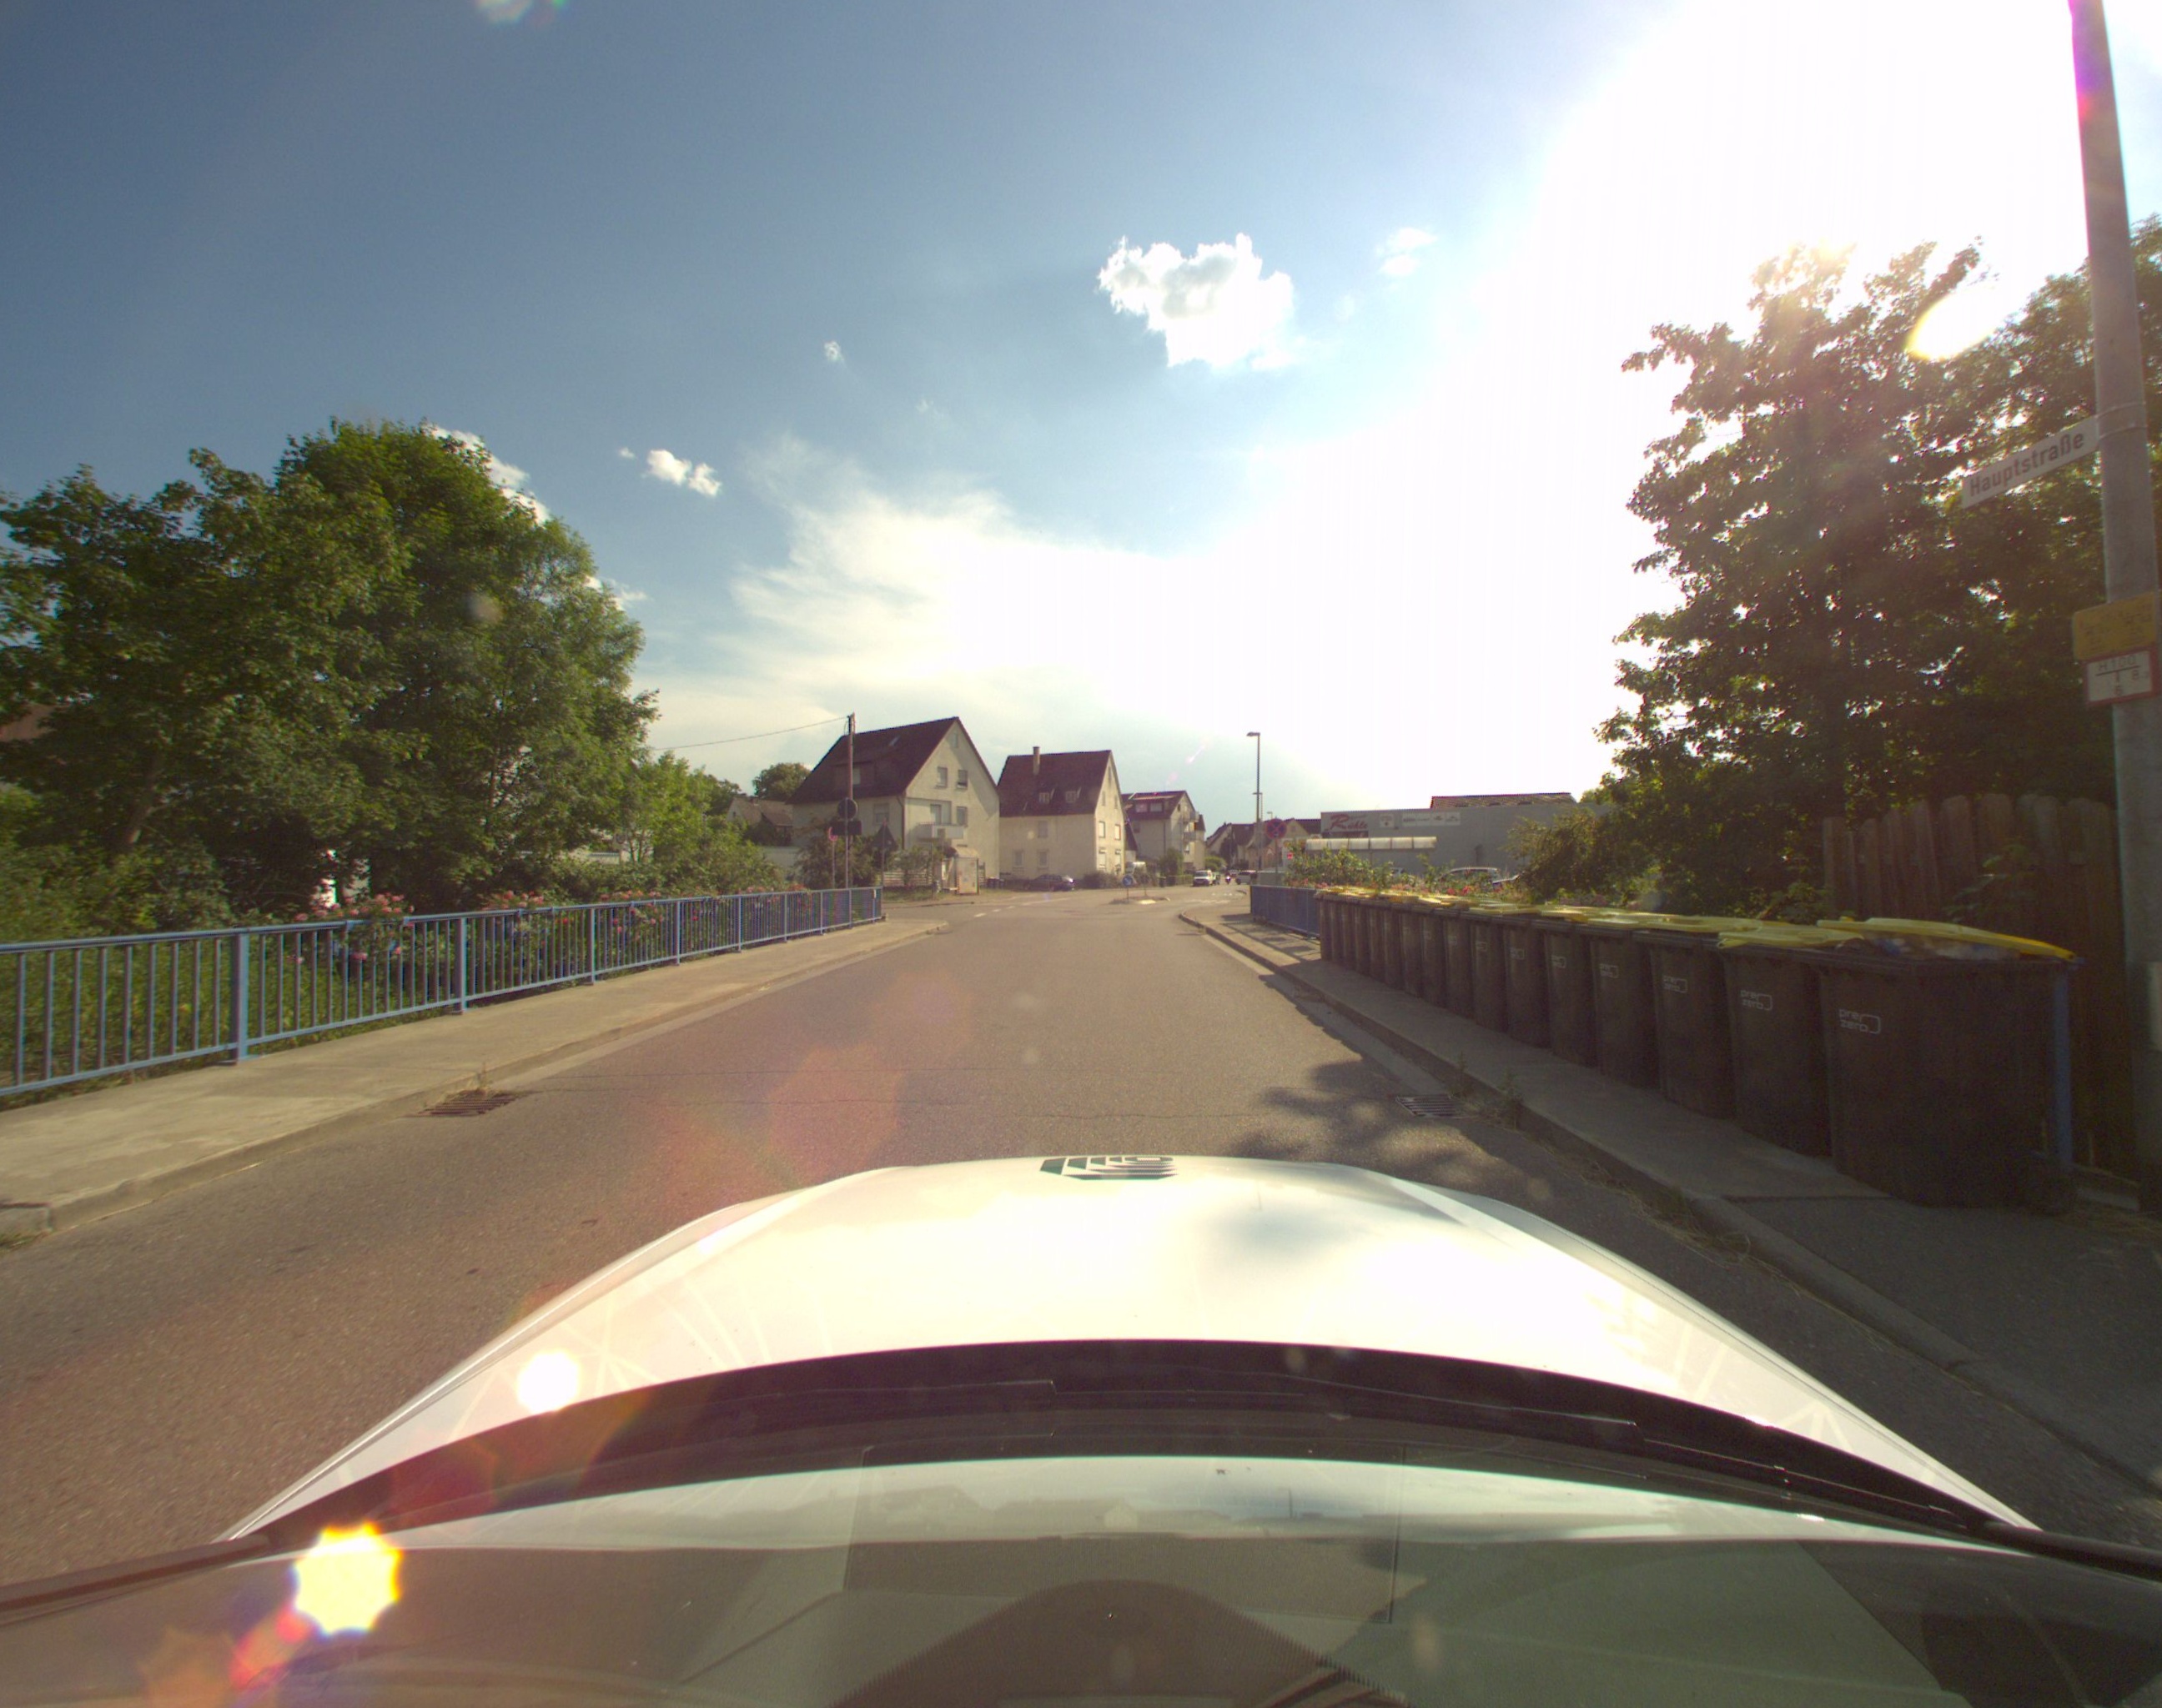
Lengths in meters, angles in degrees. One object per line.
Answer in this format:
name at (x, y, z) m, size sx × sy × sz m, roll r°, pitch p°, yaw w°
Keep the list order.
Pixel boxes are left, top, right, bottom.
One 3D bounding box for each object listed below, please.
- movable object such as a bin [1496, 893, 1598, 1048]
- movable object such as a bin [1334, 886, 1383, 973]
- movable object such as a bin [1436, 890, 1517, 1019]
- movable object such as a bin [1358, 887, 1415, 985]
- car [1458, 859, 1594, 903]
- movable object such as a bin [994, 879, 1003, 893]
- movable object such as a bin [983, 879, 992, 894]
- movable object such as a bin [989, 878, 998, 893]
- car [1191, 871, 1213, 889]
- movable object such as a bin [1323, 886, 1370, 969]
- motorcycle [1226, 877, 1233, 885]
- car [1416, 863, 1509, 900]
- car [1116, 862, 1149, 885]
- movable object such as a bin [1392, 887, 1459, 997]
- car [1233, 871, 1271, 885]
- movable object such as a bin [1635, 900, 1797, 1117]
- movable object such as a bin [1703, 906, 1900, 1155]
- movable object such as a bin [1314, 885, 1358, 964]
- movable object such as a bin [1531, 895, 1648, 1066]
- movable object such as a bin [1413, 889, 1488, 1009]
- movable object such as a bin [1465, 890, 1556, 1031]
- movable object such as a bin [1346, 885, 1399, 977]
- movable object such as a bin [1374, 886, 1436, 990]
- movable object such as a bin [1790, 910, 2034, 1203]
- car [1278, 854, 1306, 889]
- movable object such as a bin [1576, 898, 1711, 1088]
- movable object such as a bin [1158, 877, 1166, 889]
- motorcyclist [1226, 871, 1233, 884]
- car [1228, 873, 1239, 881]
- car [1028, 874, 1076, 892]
movable object such as a bin at (3.662, 0.893, 6.431) m, size 0.477 × 1.143 × 0.538 m, roll -1°, pitch -2°, yaw 1°
movable object such as a bin at (3.785, 1.014, 11.140) m, size 0.477 × 1.143 × 0.538 m, roll -1°, pitch -2°, yaw 1°
movable object such as a bin at (3.690, 0.918, 7.628) m, size 0.477 × 1.143 × 0.538 m, roll -1°, pitch -2°, yaw 1°
movable object such as a bin at (3.736, 0.984, 9.975) m, size 0.477 × 1.143 × 0.538 m, roll -1°, pitch -2°, yaw 1°
car at (15.495, 0.974, 28.578) m, size 3.909 × 1.449 × 1.689 m, roll -2°, pitch -3°, yaw 16°
movable object such as a bin at (-6.030, 2.334, 59.463) m, size 0.357 × 1.023 × 0.580 m, roll -2°, pitch -3°, yaw 33°
movable object such as a bin at (-6.685, 2.338, 58.490) m, size 0.357 × 1.016 × 0.561 m, roll -2°, pitch -3°, yaw 33°
movable object such as a bin at (-6.338, 2.295, 58.981) m, size 0.357 × 1.041 × 0.561 m, roll -2°, pitch -3°, yaw 33°
car at (13.413, 2.860, 89.979) m, size 1.703 × 1.873 × 4.210 m, roll -2°, pitch -2°, yaw 17°
movable object such as a bin at (3.812, 1.039, 11.710) m, size 0.477 × 1.143 × 0.538 m, roll -1°, pitch -2°, yaw 1°
motorcycle at (17.901, 3.232, 98.060) m, size 0.534 × 1.012 × 2.037 m, roll 1°, pitch -1°, yaw 19°
car at (15.932, 1.169, 34.176) m, size 3.408 × 1.417 × 1.506 m, roll -3°, pitch -3°, yaw 21°
car at (6.051, 2.200, 95.251) m, size 2.140 × 2.596 × 6.125 m, roll 0°, pitch -1°, yaw 21°
movable object such as a bin at (3.719, 0.933, 8.813) m, size 0.477 × 1.143 × 0.538 m, roll -1°, pitch -2°, yaw 1°
car at (19.740, 2.775, 94.195) m, size 2.008 × 1.608 × 3.958 m, roll 0°, pitch -1°, yaw -34°
movable object such as a bin at (3.628, 0.853, 4.689) m, size 0.477 × 1.143 × 0.543 m, roll -1°, pitch -2°, yaw 1°
movable object such as a bin at (3.607, 0.848, 4.115) m, size 0.477 × 1.143 × 0.538 m, roll -1°, pitch -2°, yaw 1°
movable object such as a bin at (3.845, 1.053, 12.311) m, size 0.477 × 1.143 × 0.538 m, roll -1°, pitch -2°, yaw 1°
movable object such as a bin at (3.646, 0.882, 5.868) m, size 0.477 × 1.143 × 0.538 m, roll -1°, pitch -2°, yaw 1°
movable object such as a bin at (3.707, 0.936, 8.198) m, size 0.477 × 1.143 × 0.565 m, roll -1°, pitch -2°, yaw 1°
movable object such as a bin at (3.685, 0.891, 7.019) m, size 0.477 × 1.143 × 0.538 m, roll -1°, pitch -2°, yaw 1°
movable object such as a bin at (3.773, 0.978, 10.560) m, size 0.477 × 1.143 × 0.538 m, roll -1°, pitch -2°, yaw 1°
movable object such as a bin at (3.727, 0.950, 9.393) m, size 0.477 × 1.143 × 0.538 m, roll -1°, pitch -2°, yaw 1°
movable object such as a bin at (3.591, 0.834, 3.561) m, size 0.477 × 1.143 × 0.538 m, roll -1°, pitch -2°, yaw 1°
car at (15.367, 1.275, 59.500) m, size 1.824 × 2.375 × 5.196 m, roll -2°, pitch -2°, yaw 13°
movable object such as a bin at (3.633, 0.871, 5.297) m, size 0.477 × 1.143 × 0.538 m, roll -1°, pitch -2°, yaw 1°
movable object such as a bin at (8.017, 2.875, 80.614) m, size 0.606 × 1.101 × 0.578 m, roll 0°, pitch -2°, yaw 17°
motorcyclist at (17.877, 2.777, 97.972) m, size 0.730 × 1.527 × 1.021 m, roll 2°, pitch -2°, yaw 18°
car at (25.947, 3.928, 138.962) m, size 1.698 × 1.435 × 3.789 m, roll -1°, pitch -1°, yaw 9°
car at (-2.420, 2.382, 67.339) m, size 3.950 × 1.433 × 1.663 m, roll 0°, pitch -1°, yaw 44°
